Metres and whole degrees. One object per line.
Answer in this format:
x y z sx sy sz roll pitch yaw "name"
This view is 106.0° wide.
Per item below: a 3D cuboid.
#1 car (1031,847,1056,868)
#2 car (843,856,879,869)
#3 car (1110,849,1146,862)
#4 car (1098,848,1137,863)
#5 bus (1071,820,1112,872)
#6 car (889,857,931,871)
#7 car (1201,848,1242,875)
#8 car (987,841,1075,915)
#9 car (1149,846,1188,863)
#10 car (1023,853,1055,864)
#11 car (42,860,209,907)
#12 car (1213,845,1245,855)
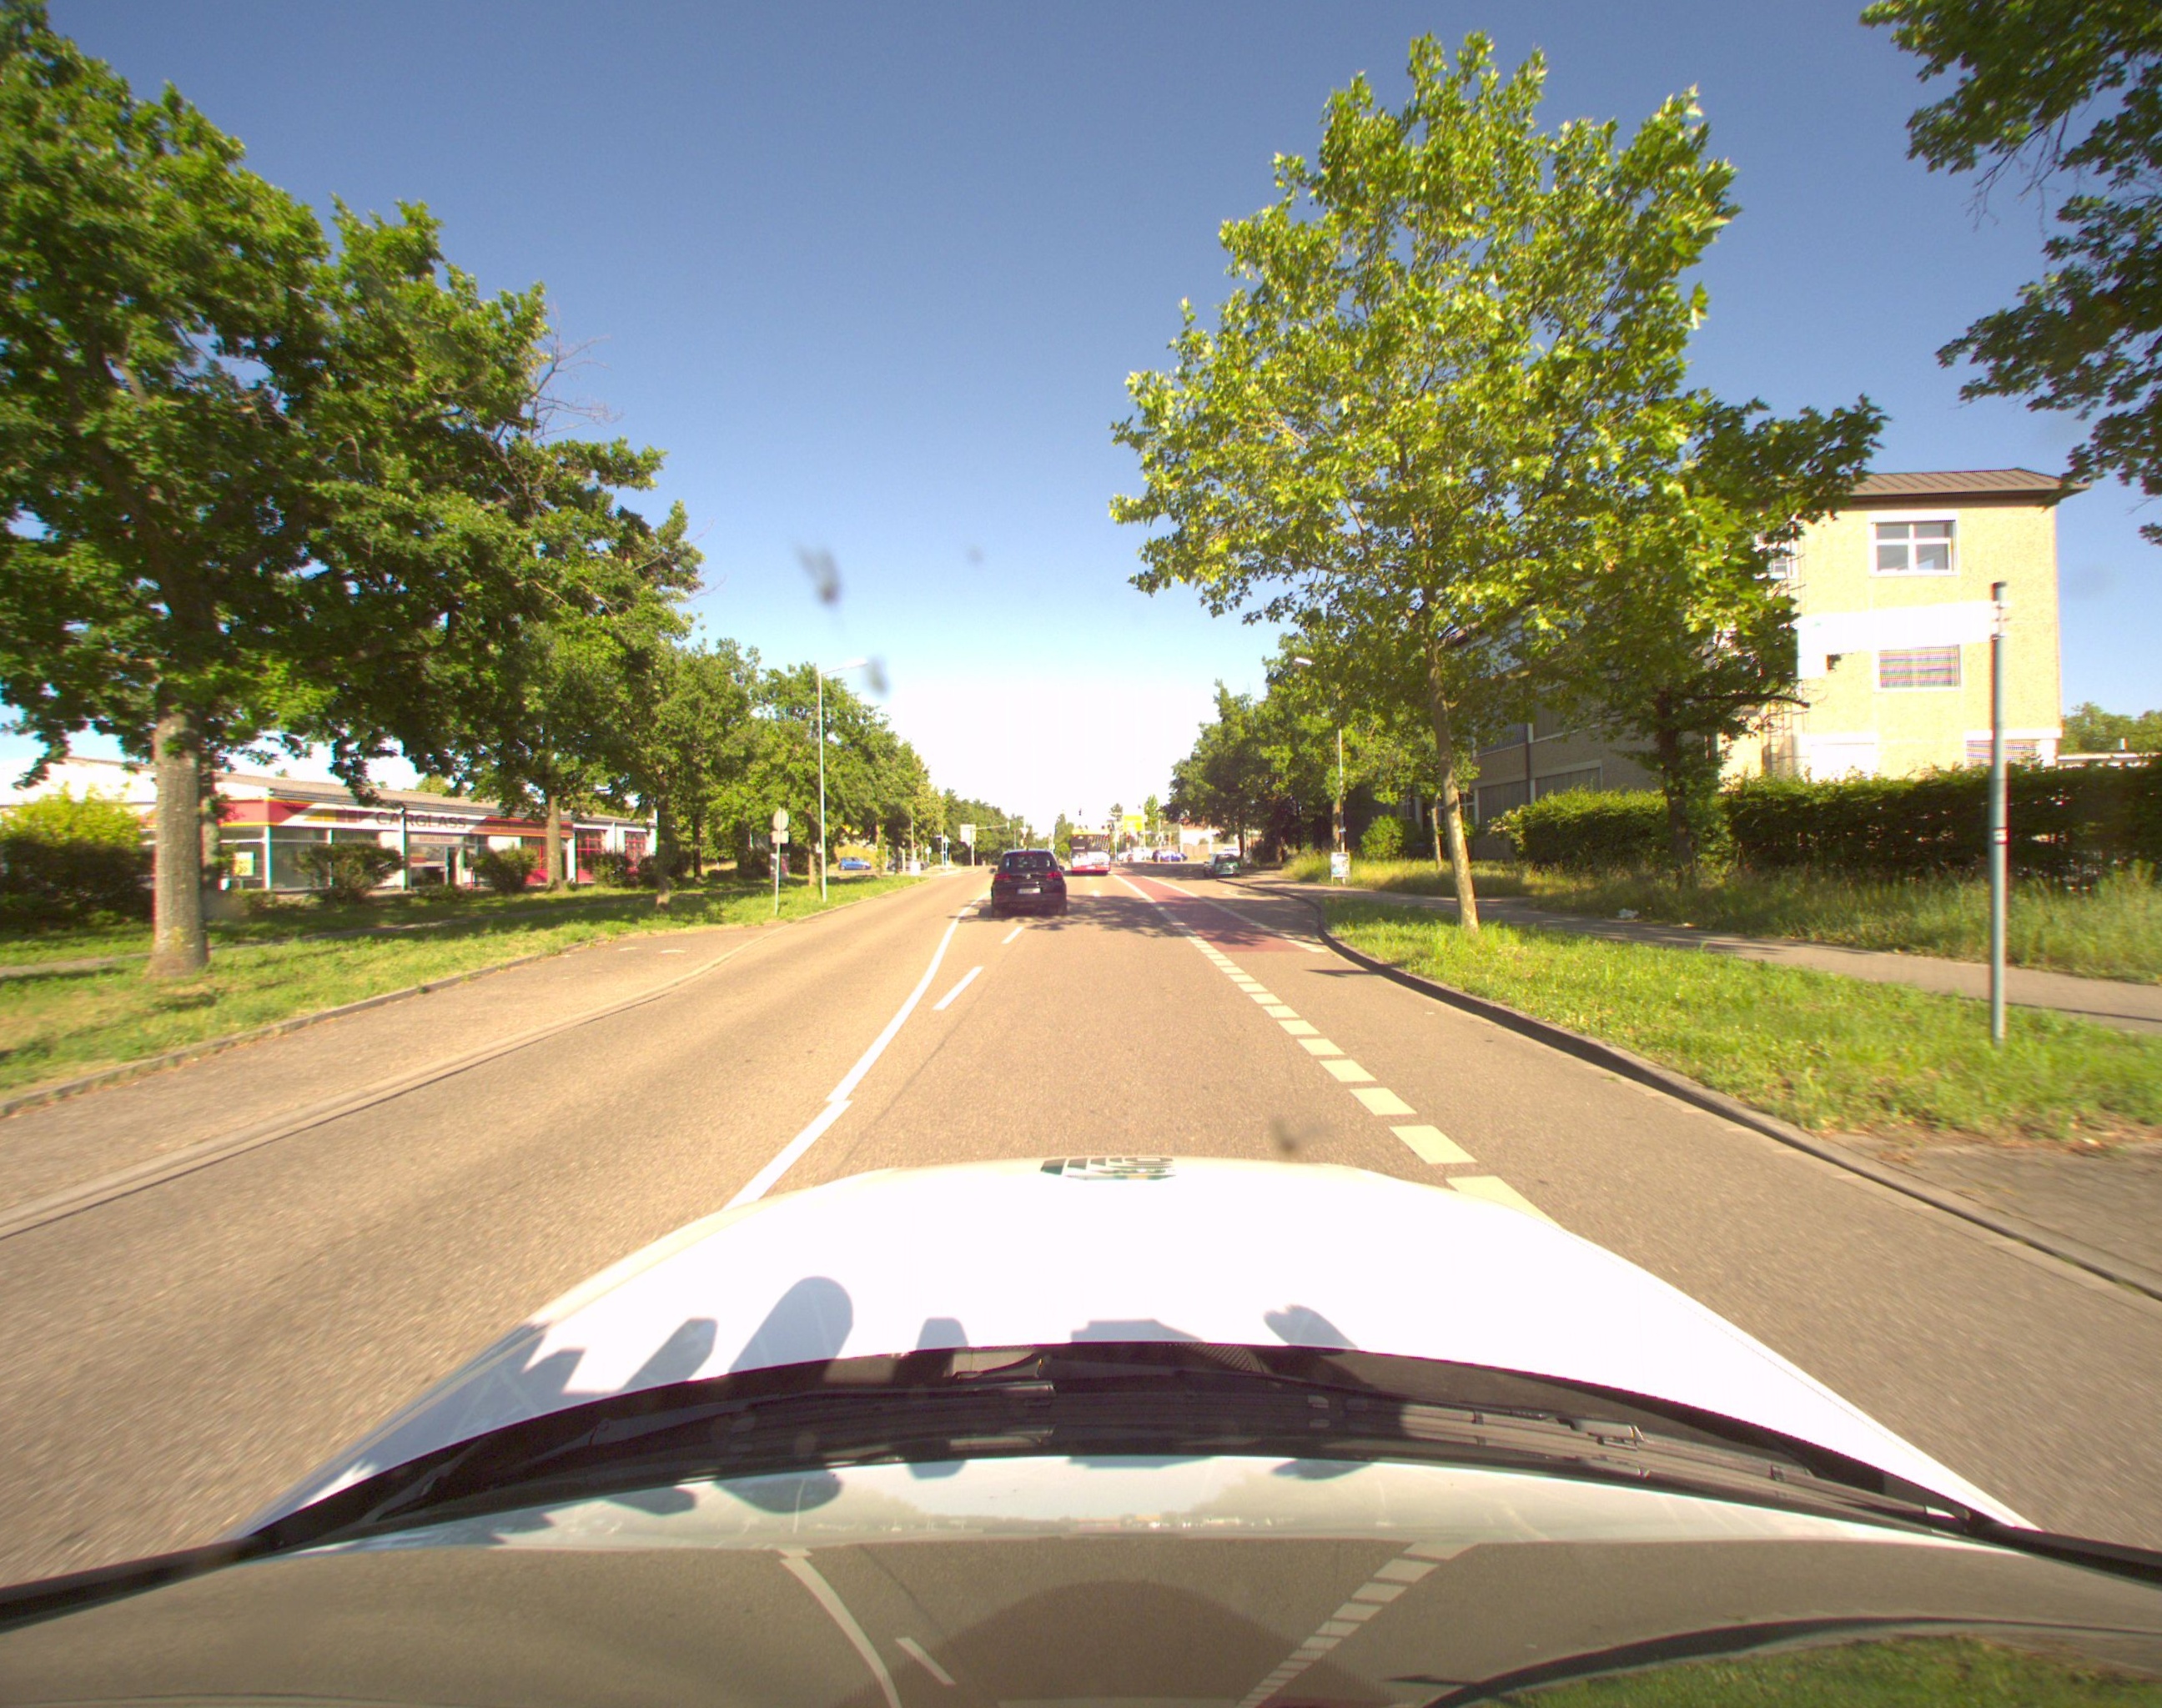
-3.011 0.292 65.008 1.751 1.620 4.025 -2 0 -6 "car"
-25.365 0.967 93.835 3.845 1.385 1.677 0 -1 -9 "car"
5.908 0.175 103.320 4.376 1.683 1.709 0 -1 -5 "car"
3.444 0.158 77.154 3.502 1.302 1.578 -1 0 8 "car"
0.664 -0.561 58.133 2.588 3.334 11.982 0 0 0 "bus"
-18.410 1.123 87.951 4.214 1.480 1.760 0 -1 -5 "car"
8.011 0.430 46.757 1.587 1.428 4.204 -3 0 1 "car"
-1.180 0.574 20.973 1.814 1.673 4.005 -2 -1 2 "car"
9.789 0.103 91.263 3.980 1.880 1.997 0 -1 -5 "car"
-5.229 0.589 101.843 3.890 1.340 1.677 0 -1 -9 "car"
-32.770 0.989 28.014 3.591 1.498 1.590 -1 -1 -6 "car"
19.717 -0.568 108.464 3.841 1.340 1.679 0 -1 -6 "car"
